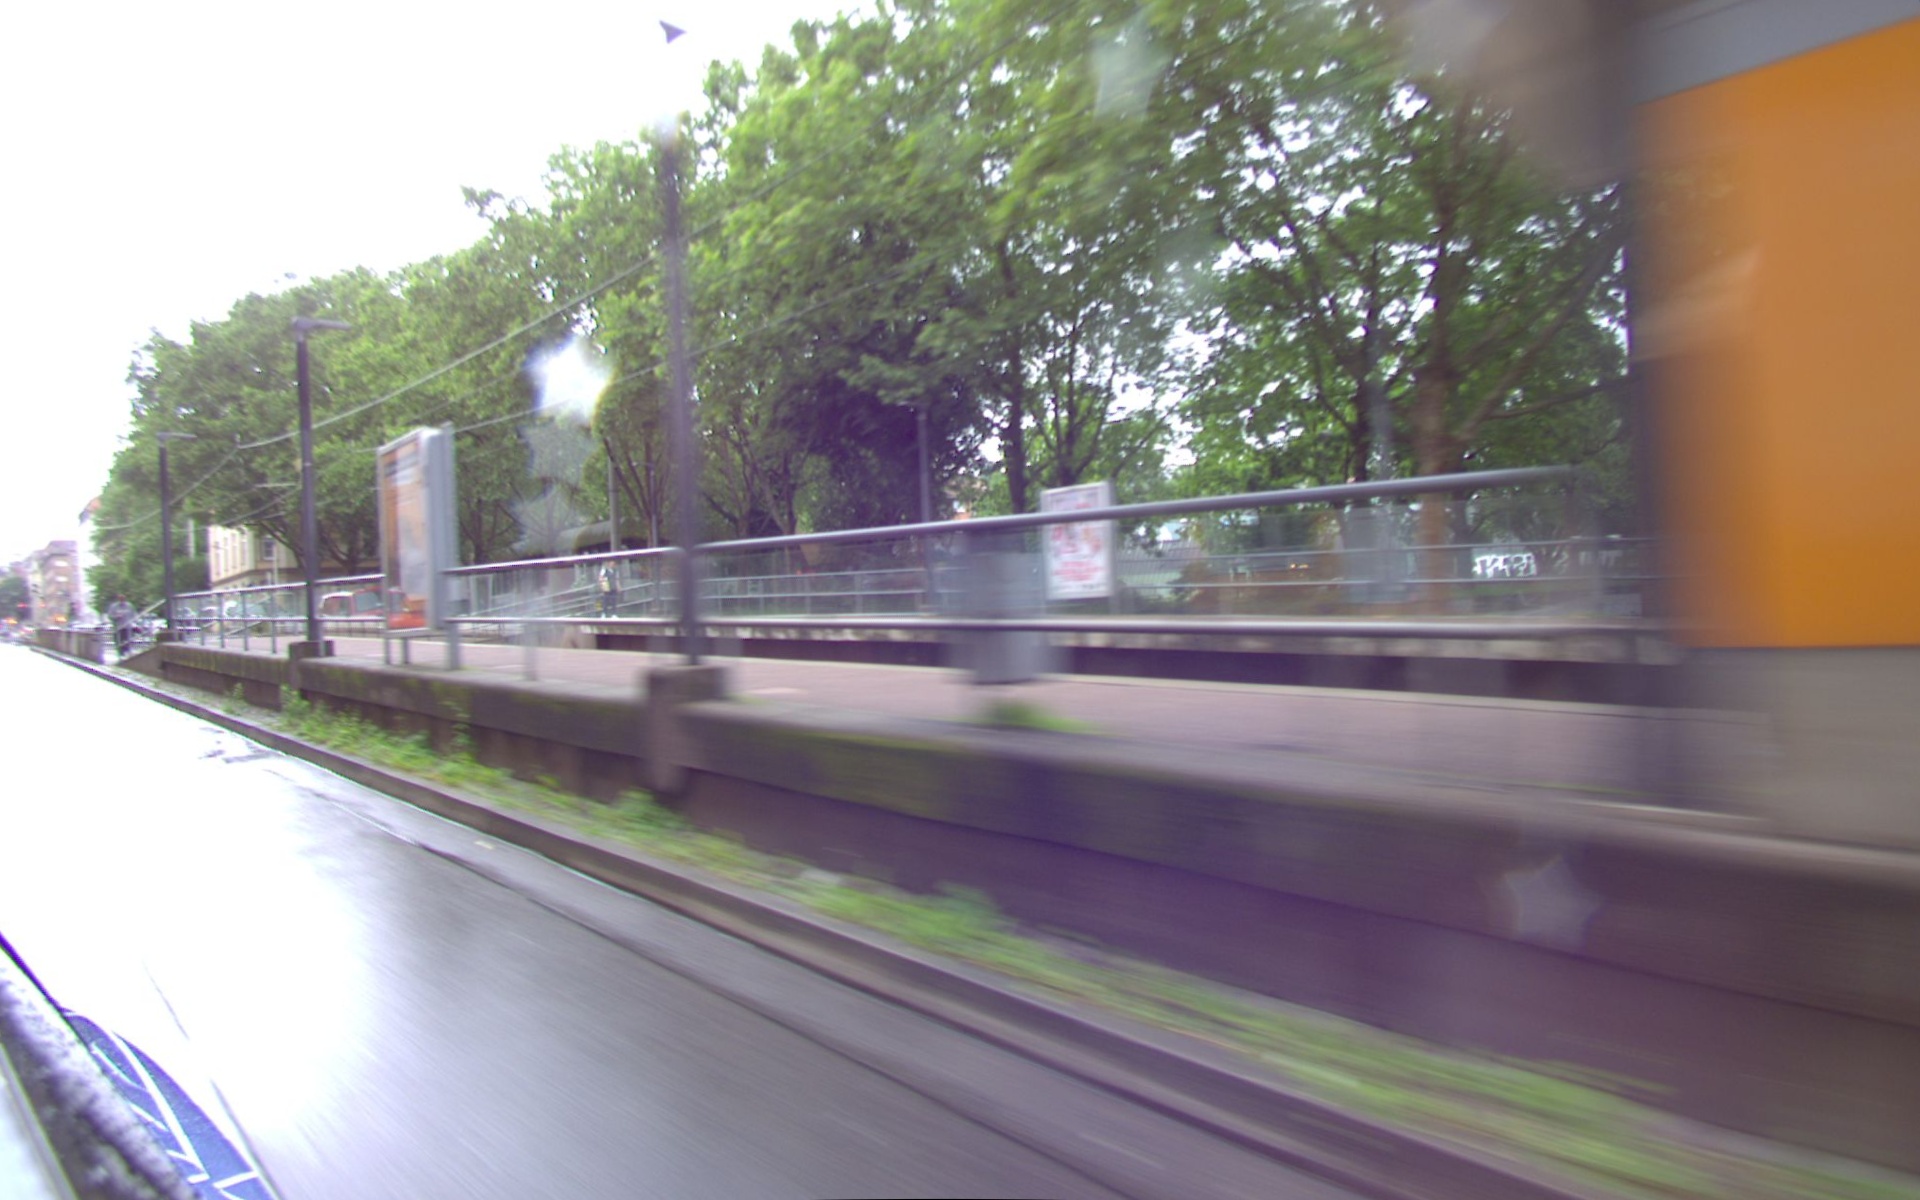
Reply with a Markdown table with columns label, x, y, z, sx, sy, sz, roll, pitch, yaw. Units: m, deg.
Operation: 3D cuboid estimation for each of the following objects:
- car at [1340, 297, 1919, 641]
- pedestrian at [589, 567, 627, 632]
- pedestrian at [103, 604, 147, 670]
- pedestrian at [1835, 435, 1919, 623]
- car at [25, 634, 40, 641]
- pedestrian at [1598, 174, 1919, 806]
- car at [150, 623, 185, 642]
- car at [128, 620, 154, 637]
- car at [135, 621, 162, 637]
| label | x | y | z | sx | sy | sz | roll | pitch | yaw |
| --- | --- | --- | --- | --- | --- | --- | --- | --- | --- |
| car | 4.022 | -0.541 | 5.222 | 1.672 | 1.401 | 3.466 | -2 | 0 | -44 |
| pedestrian | -9.520 | -0.019 | 27.356 | 0.688 | 1.676 | 0.650 | -7 | -3 | 44 |
| pedestrian | -23.982 | 1.047 | 29.074 | 0.787 | 1.812 | 0.849 | -2 | 0 | 44 |
| pedestrian | 8.526 | -0.636 | 9.382 | 0.564 | 1.653 | 0.679 | -2 | 0 | 43 |
| car | -151.200 | 6.106 | 164.989 | 2.909 | 1.175 | 1.551 | -3 | -1 | 42 |
| pedestrian | 2.369 | -0.284 | 2.985 | 0.489 | 1.617 | 0.639 | -1 | 0 | -29 |
| car | -65.573 | 2.666 | 83.719 | 1.865 | 1.488 | 3.809 | -3 | 1 | -44 |
| car | -78.563 | 2.734 | 97.075 | 3.500 | 1.460 | 1.464 | -3 | -1 | 43 |
| car | -75.538 | 2.724 | 94.174 | 3.282 | 1.411 | 1.464 | -3 | -1 | 43 |
